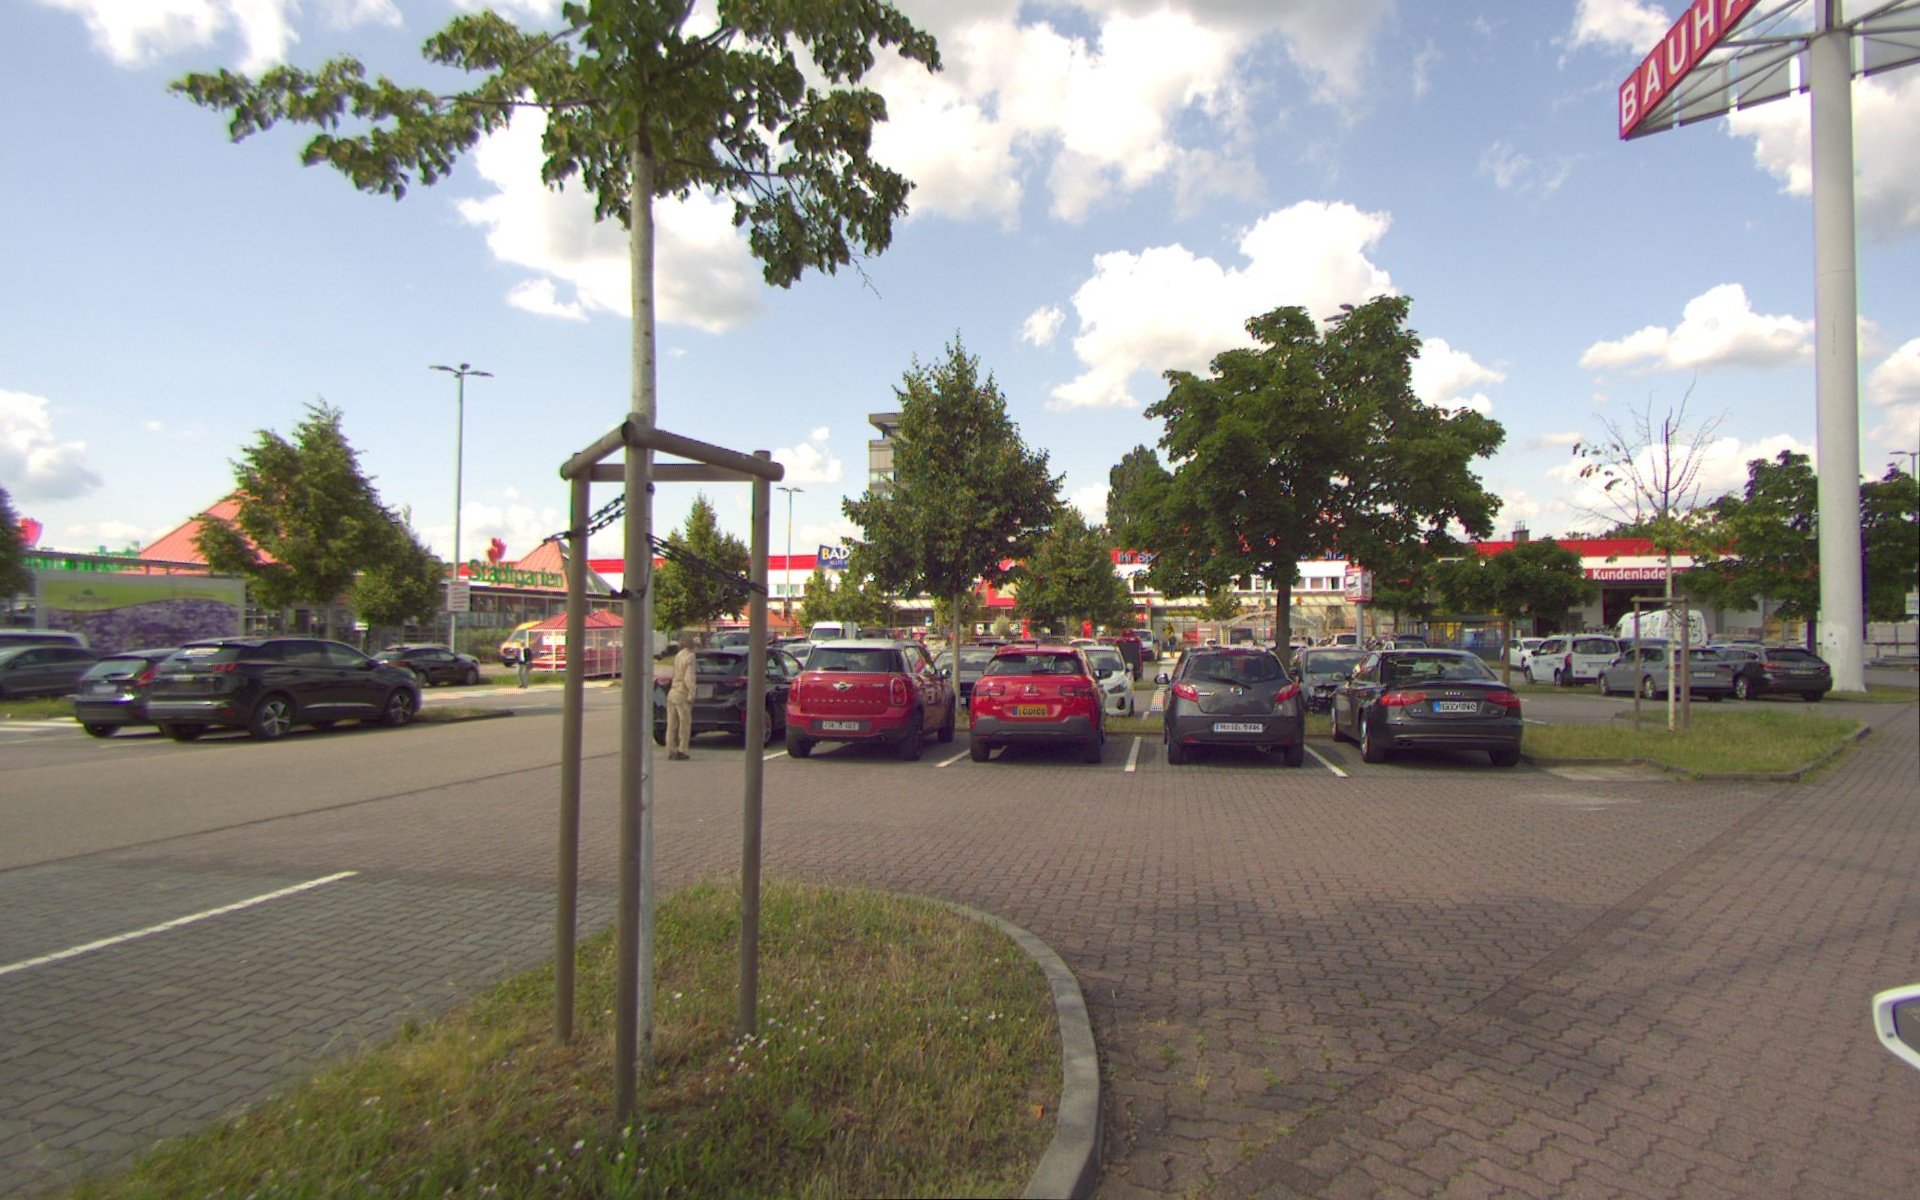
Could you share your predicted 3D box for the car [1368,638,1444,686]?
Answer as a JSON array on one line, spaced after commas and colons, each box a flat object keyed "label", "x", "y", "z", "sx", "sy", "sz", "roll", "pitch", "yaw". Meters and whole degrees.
[{"label": "car", "x": 15.851, "y": 2.162, "z": 35.890, "sx": 1.685, "sy": 1.617, "sz": 4.003, "roll": -1, "pitch": -2, "yaw": 12}]

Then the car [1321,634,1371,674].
[{"label": "car", "x": 17.890, "y": 2.488, "z": 46.683, "sx": 1.570, "sy": 1.766, "sz": 3.170, "roll": -1, "pitch": -3, "yaw": 11}]

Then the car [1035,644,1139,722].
[{"label": "car", "x": 2.618, "y": 1.571, "z": 20.133, "sx": 1.856, "sy": 1.370, "sz": 4.285, "roll": 0, "pitch": -2, "yaw": 9}]

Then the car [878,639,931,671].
[{"label": "car", "x": -3.073, "y": 3.053, "z": 56.193, "sx": 1.959, "sy": 1.652, "sz": 4.004, "roll": 3, "pitch": -2, "yaw": 11}]

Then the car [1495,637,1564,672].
[{"label": "car", "x": 25.307, "y": 2.411, "z": 44.740, "sx": 1.511, "sy": 1.423, "sz": 3.629, "roll": 3, "pitch": -2, "yaw": 11}]

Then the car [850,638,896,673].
[{"label": "car", "x": -4.330, "y": 2.752, "z": 50.212, "sx": 1.662, "sy": 1.635, "sz": 2.659, "roll": 3, "pitch": -2, "yaw": 7}]

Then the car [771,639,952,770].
[{"label": "car", "x": -1.251, "y": 1.357, "z": 14.179, "sx": 1.675, "sy": 1.602, "sz": 3.450, "roll": 0, "pitch": -2, "yaw": 10}]

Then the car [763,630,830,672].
[{"label": "car", "x": -8.281, "y": 2.591, "z": 51.174, "sx": 1.960, "sy": 2.040, "sz": 4.003, "roll": -1, "pitch": -2, "yaw": 14}]

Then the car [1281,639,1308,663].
[{"label": "car", "x": 21.117, "y": 3.228, "z": 63.462, "sx": 1.139, "sy": 1.443, "sz": 2.540, "roll": 3, "pitch": -2, "yaw": 7}]

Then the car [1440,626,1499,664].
[{"label": "car", "x": 30.228, "y": 2.680, "z": 59.695, "sx": 1.959, "sy": 2.040, "sz": 4.004, "roll": 3, "pitch": -2, "yaw": 9}]

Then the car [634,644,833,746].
[{"label": "car", "x": -3.383, "y": 1.394, "z": 15.814, "sx": 1.694, "sy": 1.387, "sz": 3.887, "roll": -1, "pitch": -2, "yaw": 10}]

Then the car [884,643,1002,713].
[{"label": "car", "x": -0.279, "y": 1.652, "z": 22.209, "sx": 1.787, "sy": 1.300, "sz": 3.895, "roll": 3, "pitch": -2, "yaw": 11}]

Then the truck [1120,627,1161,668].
[{"label": "truck", "x": 9.921, "y": 2.616, "z": 54.923, "sx": 1.823, "sy": 2.040, "sz": 5.412, "roll": 3, "pitch": -2, "yaw": 14}]

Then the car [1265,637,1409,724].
[{"label": "car", "x": 7.024, "y": 1.464, "z": 19.122, "sx": 1.757, "sy": 1.369, "sz": 4.070, "roll": 3, "pitch": -2, "yaw": 10}]

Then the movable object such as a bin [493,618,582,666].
[{"label": "movable object such as a bin", "x": -23.272, "y": 2.330, "z": 55.589, "sx": 2.087, "sy": 2.526, "sz": 5.341, "roll": 0, "pitch": -2, "yaw": 7}]

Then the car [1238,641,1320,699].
[{"label": "car", "x": 9.457, "y": 2.038, "z": 30.024, "sx": 1.716, "sy": 1.636, "sz": 3.728, "roll": 0, "pitch": -2, "yaw": 8}]

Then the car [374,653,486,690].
[{"label": "car", "x": -19.088, "y": 2.587, "z": 36.270, "sx": 1.521, "sy": 1.235, "sz": 3.262, "roll": -4, "pitch": -6, "yaw": 32}]

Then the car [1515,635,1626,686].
[{"label": "car", "x": 20.519, "y": 2.013, "z": 33.970, "sx": 1.871, "sy": 1.617, "sz": 4.004, "roll": 0, "pitch": -3, "yaw": 10}]

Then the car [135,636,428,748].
[{"label": "car", "x": -11.181, "y": 1.442, "z": 16.961, "sx": 1.747, "sy": 1.645, "sz": 4.088, "roll": 0, "pitch": -2, "yaw": 9}]

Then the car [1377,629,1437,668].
[{"label": "car", "x": 20.292, "y": 2.189, "z": 45.721, "sx": 1.729, "sy": 1.545, "sz": 3.472, "roll": -2, "pitch": 1, "yaw": 11}]

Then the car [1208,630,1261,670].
[{"label": "car", "x": 12.775, "y": 2.311, "z": 47.004, "sx": 1.959, "sy": 1.802, "sz": 4.003, "roll": 0, "pitch": -2, "yaw": 9}]

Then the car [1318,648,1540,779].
[{"label": "car", "x": 6.148, "y": 1.392, "z": 13.747, "sx": 1.736, "sy": 1.451, "sz": 4.546, "roll": 0, "pitch": -2, "yaw": 12}]

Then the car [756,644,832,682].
[{"label": "car", "x": -6.539, "y": 2.461, "z": 39.907, "sx": 1.708, "sy": 1.404, "sz": 3.564, "roll": -1, "pitch": -2, "yaw": 14}]

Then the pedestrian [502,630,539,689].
[{"label": "pedestrian", "x": -15.421, "y": 2.077, "z": 35.243, "sx": 0.800, "sy": 2.040, "sz": 0.916, "roll": 0, "pitch": -2, "yaw": 10}]

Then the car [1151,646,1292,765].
[{"label": "car", "x": 3.475, "y": 1.333, "z": 13.912, "sx": 1.547, "sy": 1.387, "sz": 4.003, "roll": -1, "pitch": -2, "yaw": 10}]

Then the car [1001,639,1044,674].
[{"label": "car", "x": 3.079, "y": 2.732, "z": 48.917, "sx": 1.693, "sy": 1.528, "sz": 3.240, "roll": 3, "pitch": -2, "yaw": 10}]

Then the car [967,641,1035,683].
[{"label": "car", "x": 1.638, "y": 2.336, "z": 38.590, "sx": 1.959, "sy": 1.487, "sz": 4.420, "roll": 0, "pitch": -2, "yaw": 11}]

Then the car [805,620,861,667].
[{"label": "car", "x": -7.408, "y": 2.553, "z": 59.101, "sx": 2.193, "sy": 2.670, "sz": 4.333, "roll": 1, "pitch": -2, "yaw": 7}]

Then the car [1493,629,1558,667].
[{"label": "car", "x": 33.000, "y": 2.782, "z": 58.740, "sx": 1.959, "sy": 2.040, "sz": 4.004, "roll": 3, "pitch": -2, "yaw": 9}]

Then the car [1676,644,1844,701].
[{"label": "car", "x": 22.086, "y": 1.950, "z": 27.958, "sx": 1.791, "sy": 1.458, "sz": 4.094, "roll": 0, "pitch": -2, "yaw": 8}]

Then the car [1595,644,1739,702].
[{"label": "car", "x": 19.379, "y": 1.963, "z": 27.743, "sx": 1.690, "sy": 1.465, "sz": 3.776, "roll": 0, "pitch": -2, "yaw": 8}]

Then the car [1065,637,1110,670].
[{"label": "car", "x": 6.266, "y": 2.576, "z": 49.043, "sx": 1.959, "sy": 1.528, "sz": 4.003, "roll": -1, "pitch": -2, "yaw": 10}]

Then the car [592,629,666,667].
[{"label": "car", "x": -19.638, "y": 2.854, "z": 59.884, "sx": 1.959, "sy": 2.040, "sz": 4.812, "roll": 3, "pitch": -2, "yaw": 11}]

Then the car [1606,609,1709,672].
[{"label": "car", "x": 30.400, "y": 1.724, "z": 43.941, "sx": 2.011, "sy": 2.543, "sz": 4.732, "roll": 1, "pitch": -1, "yaw": 12}]

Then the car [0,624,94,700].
[{"label": "car", "x": -26.664, "y": 1.659, "z": 26.817, "sx": 1.959, "sy": 2.040, "sz": 5.192, "roll": 0, "pitch": -2, "yaw": 12}]

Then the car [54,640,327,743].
[{"label": "car", "x": -13.480, "y": 1.534, "z": 17.911, "sx": 1.747, "sy": 1.645, "sz": 3.710, "roll": 0, "pitch": -2, "yaw": 7}]

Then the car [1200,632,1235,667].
[{"label": "car", "x": 16.547, "y": 3.169, "z": 64.419, "sx": 1.960, "sy": 2.040, "sz": 4.003, "roll": 3, "pitch": -2, "yaw": 16}]

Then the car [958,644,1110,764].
[{"label": "car", "x": 1.178, "y": 1.337, "z": 14.142, "sx": 1.731, "sy": 1.417, "sz": 4.092, "roll": 0, "pitch": -2, "yaw": 10}]
